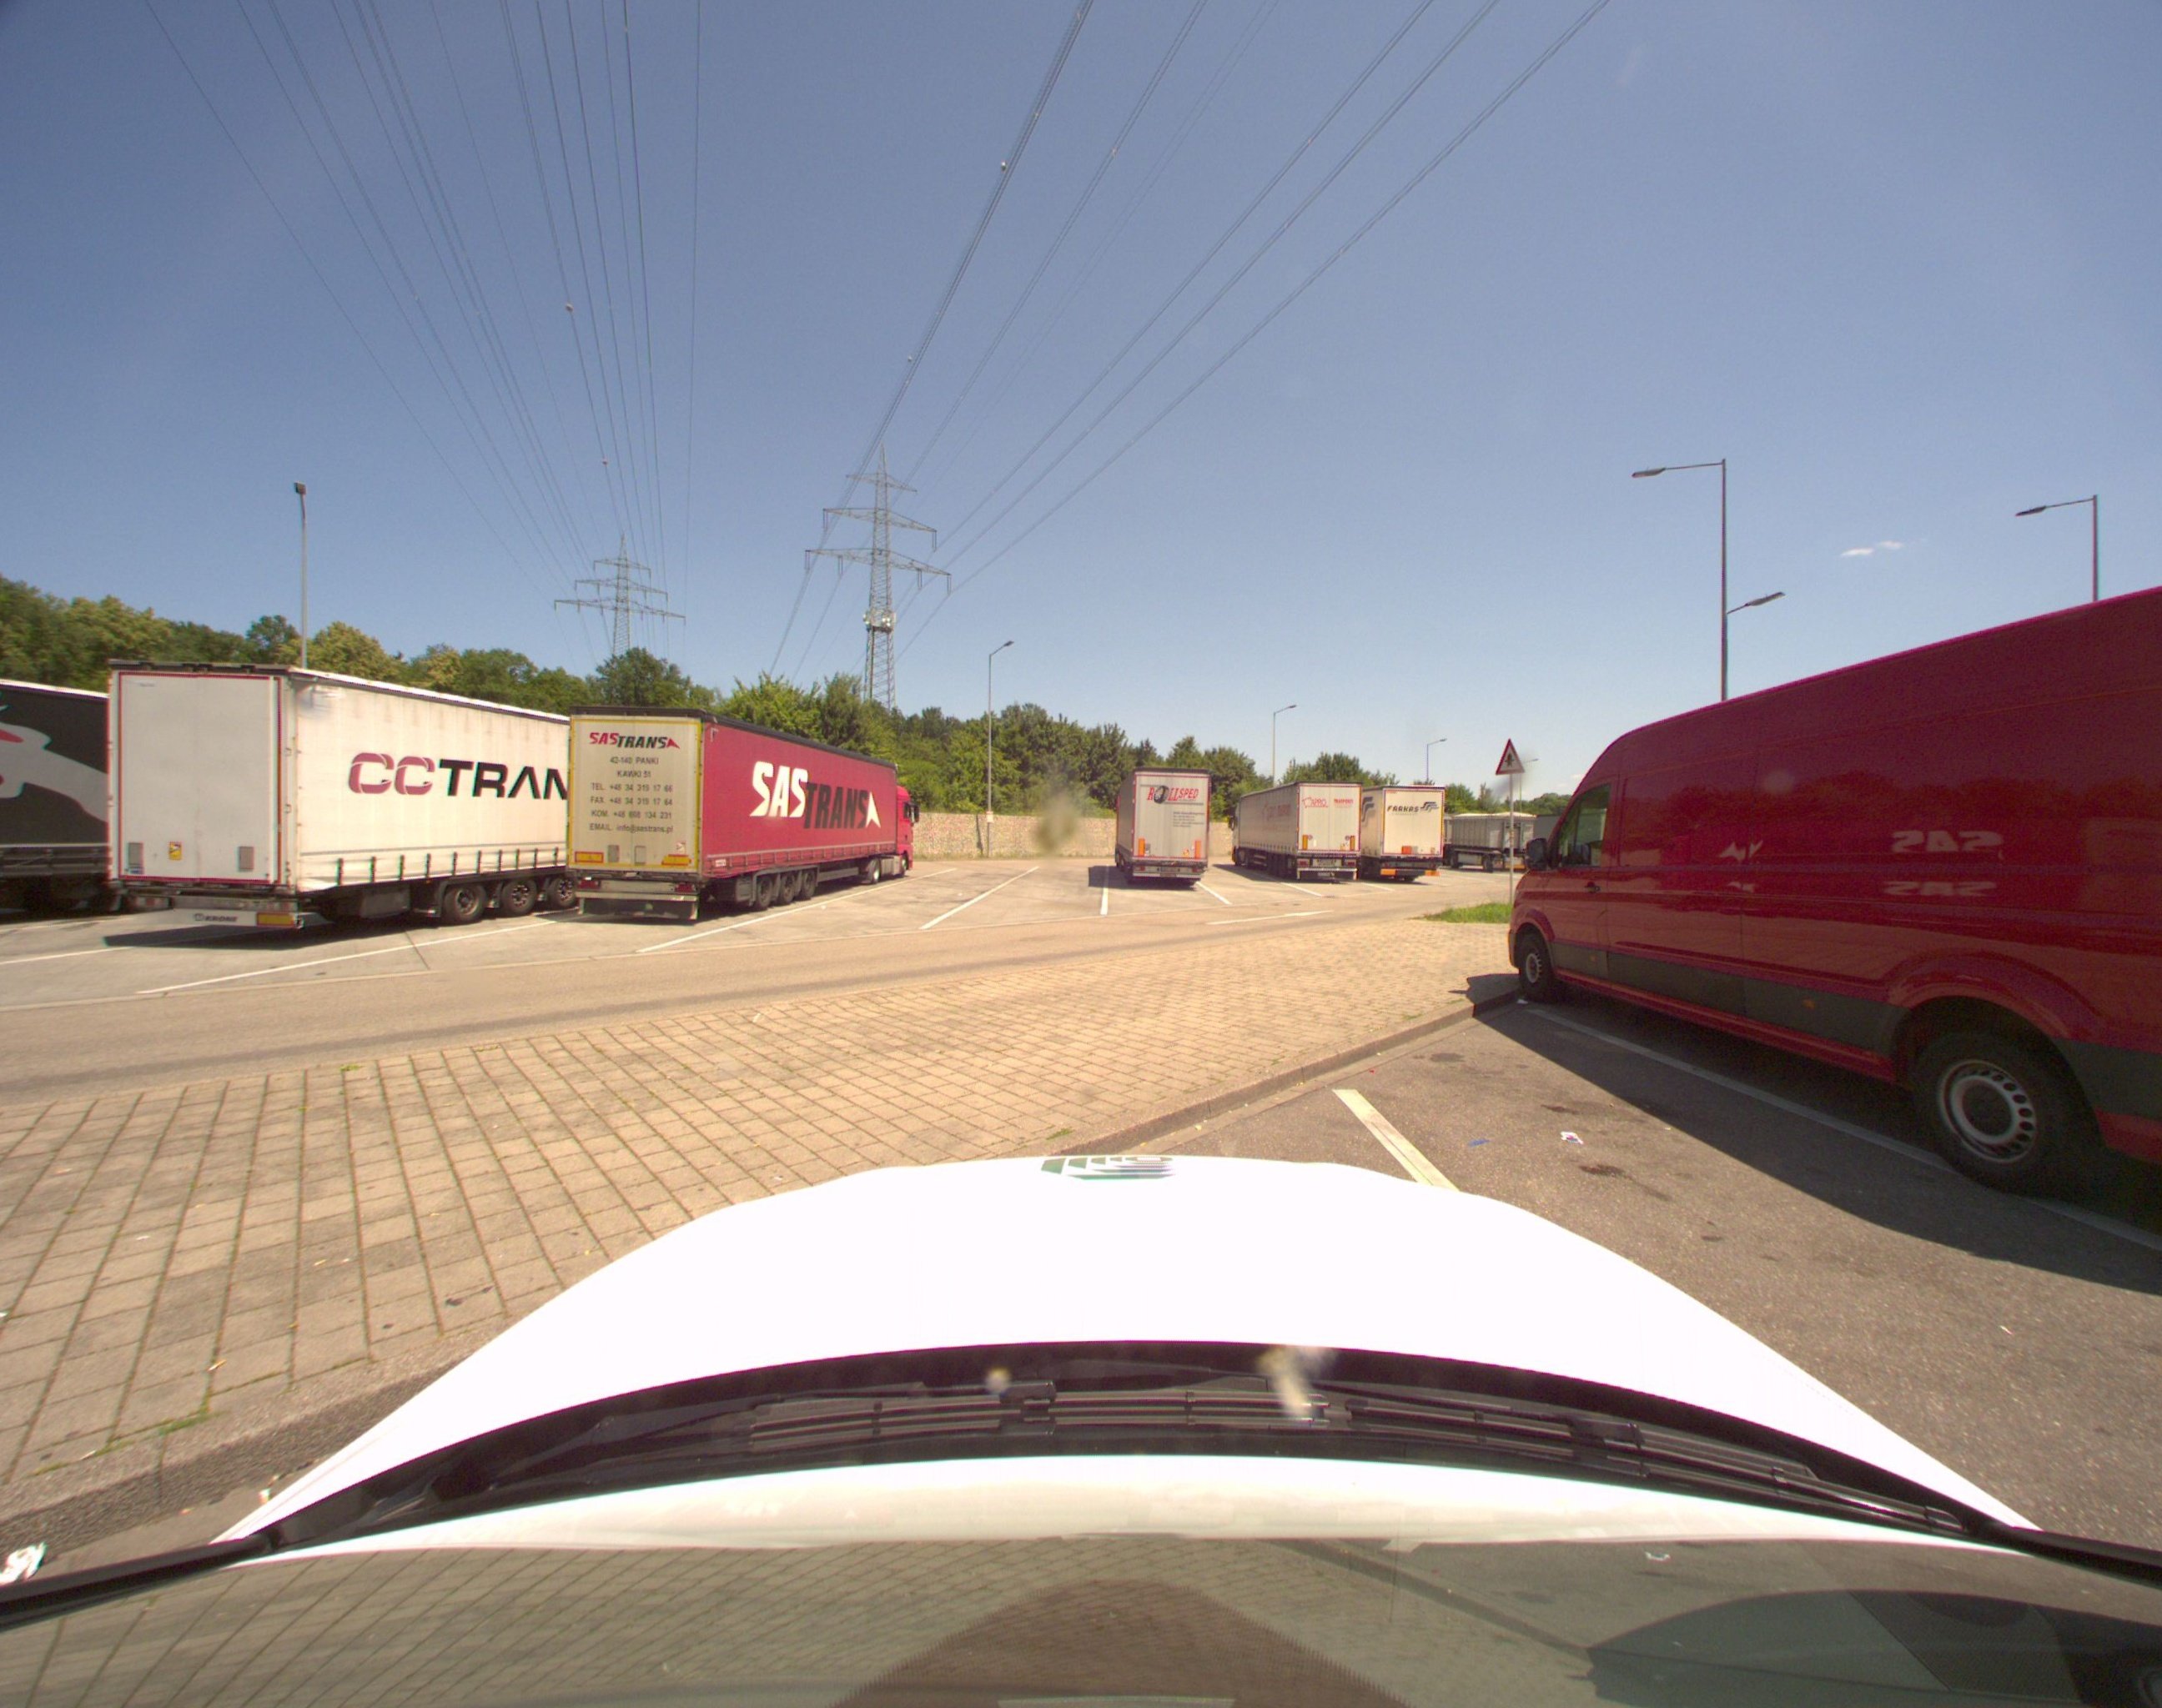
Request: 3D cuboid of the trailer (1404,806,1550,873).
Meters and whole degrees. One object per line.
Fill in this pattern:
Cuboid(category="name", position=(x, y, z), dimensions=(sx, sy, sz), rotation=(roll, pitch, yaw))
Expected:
Cuboid(category="trailer", position=(24.448, -0.999, 51.516), dimensions=(2.847, 3.599, 13.770), rotation=(1, 2, 2))

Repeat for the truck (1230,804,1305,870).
Cuboid(category="truck", position=(10.186, -0.981, 45.081), dimensions=(2.855, 3.362, 5.977), rotation=(1, 2, 2))

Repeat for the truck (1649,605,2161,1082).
Cuboid(category="truck", position=(8.011, -0.071, 6.902), dimensions=(2.406, 2.906, 6.466), rotation=(-1, 0, 6))

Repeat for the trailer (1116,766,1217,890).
Cuboid(category="trailer", position=(3.056, -1.051, 33.226), dimensions=(2.848, 3.971, 13.767), rotation=(1, 2, 1))

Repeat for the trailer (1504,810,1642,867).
Cuboid(category="trailer", position=(38.228, -1.303, 64.198), dimensions=(2.847, 3.904, 13.770), rotation=(1, 2, 2))

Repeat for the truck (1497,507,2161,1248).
Cuboid(category="truck", position=(5.151, 0.080, 5.469), dimensions=(2.001, 2.651, 6.466), rotation=(-1, 0, 6))

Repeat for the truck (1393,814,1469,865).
Cuboid(category="truck", position=(24.634, -1.088, 57.613), dimensions=(2.855, 3.362, 5.977), rotation=(1, 2, 2))

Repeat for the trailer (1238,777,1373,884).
Cuboid(category="trailer", position=(9.988, -1.123, 38.317), dimensions=(2.847, 4.109, 13.770), rotation=(1, 2, 2))

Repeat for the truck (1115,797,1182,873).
Cuboid(category="truck", position=(3.147, -0.942, 39.428), dimensions=(2.855, 3.362, 5.977), rotation=(1, 2, 2))

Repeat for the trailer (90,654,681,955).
Cuboid(category="trailer", position=(-12.152, -0.841, 16.439), dimensions=(2.696, 4.101, 10.395), rotation=(1, 2, 2))

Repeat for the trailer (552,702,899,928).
Cuboid(category="trailer", position=(-8.038, -0.928, 21.743), dimensions=(2.811, 4.070, 13.770), rotation=(1, 2, 2))

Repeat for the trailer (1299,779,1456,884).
Cuboid(category="trailer", position=(13.616, -1.098, 39.241), dimensions=(2.847, 4.109, 13.770), rotation=(1, 2, 2))

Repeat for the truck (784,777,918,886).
Cuboid(category="truck", position=(-7.824, -0.795, 28.560), dimensions=(2.801, 3.362, 5.977), rotation=(1, 2, 2))

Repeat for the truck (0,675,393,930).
Cuboid(category="truck", position=(-18.541, -0.938, 15.846), dimensions=(2.696, 4.070, 8.694), rotation=(1, 2, 2))
